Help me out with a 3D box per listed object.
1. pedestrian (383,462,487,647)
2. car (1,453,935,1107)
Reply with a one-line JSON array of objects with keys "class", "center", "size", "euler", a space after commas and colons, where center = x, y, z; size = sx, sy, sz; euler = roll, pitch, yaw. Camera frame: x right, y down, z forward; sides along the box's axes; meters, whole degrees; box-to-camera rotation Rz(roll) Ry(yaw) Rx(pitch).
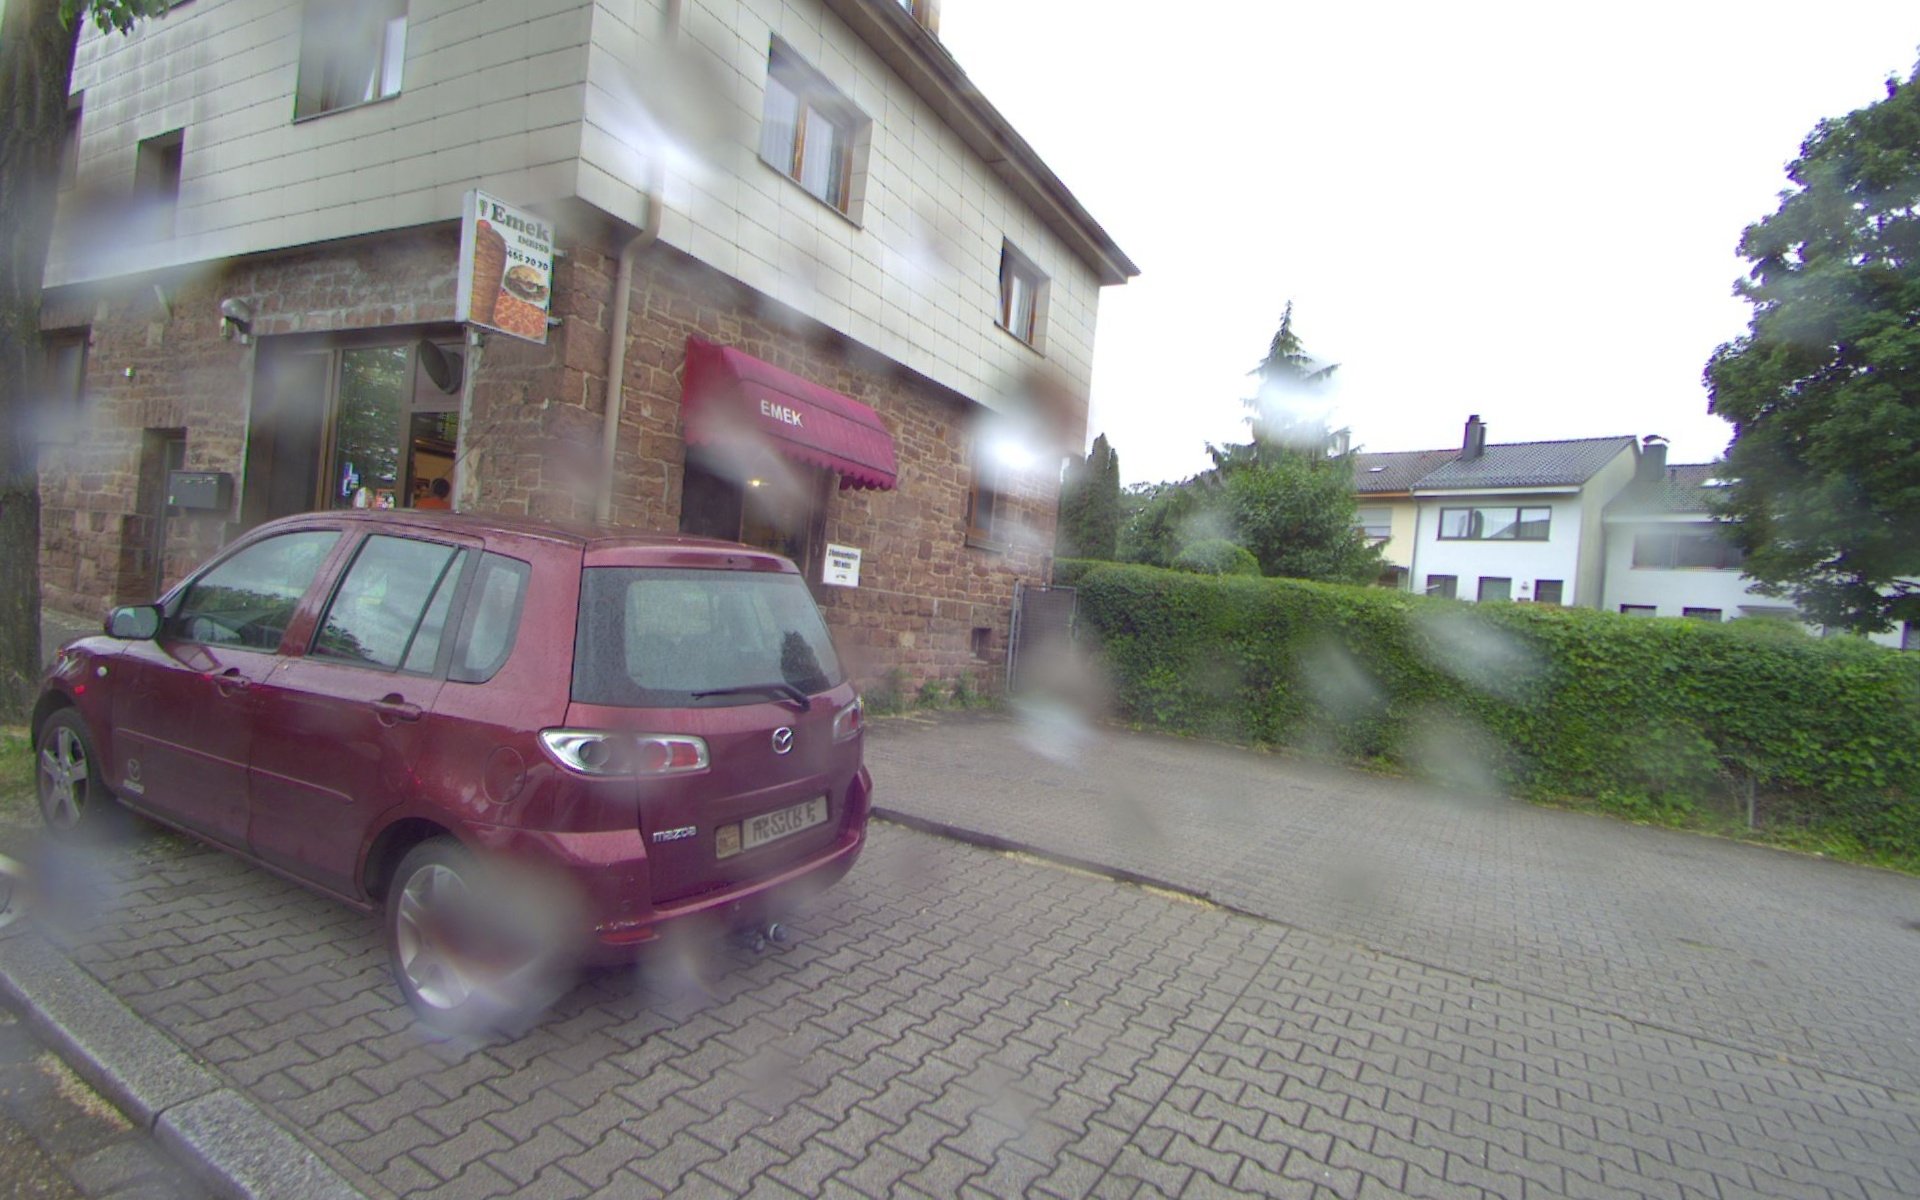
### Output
[{"class": "pedestrian", "center": [-5.552, -0.466, 10.649], "size": [0.475, 1.862, 0.638], "euler": [7, 0, 31]}, {"class": "car", "center": [-2.095, 0.352, 4.074], "size": [3.565, 1.511, 1.585], "euler": [7, 3, 29]}]
